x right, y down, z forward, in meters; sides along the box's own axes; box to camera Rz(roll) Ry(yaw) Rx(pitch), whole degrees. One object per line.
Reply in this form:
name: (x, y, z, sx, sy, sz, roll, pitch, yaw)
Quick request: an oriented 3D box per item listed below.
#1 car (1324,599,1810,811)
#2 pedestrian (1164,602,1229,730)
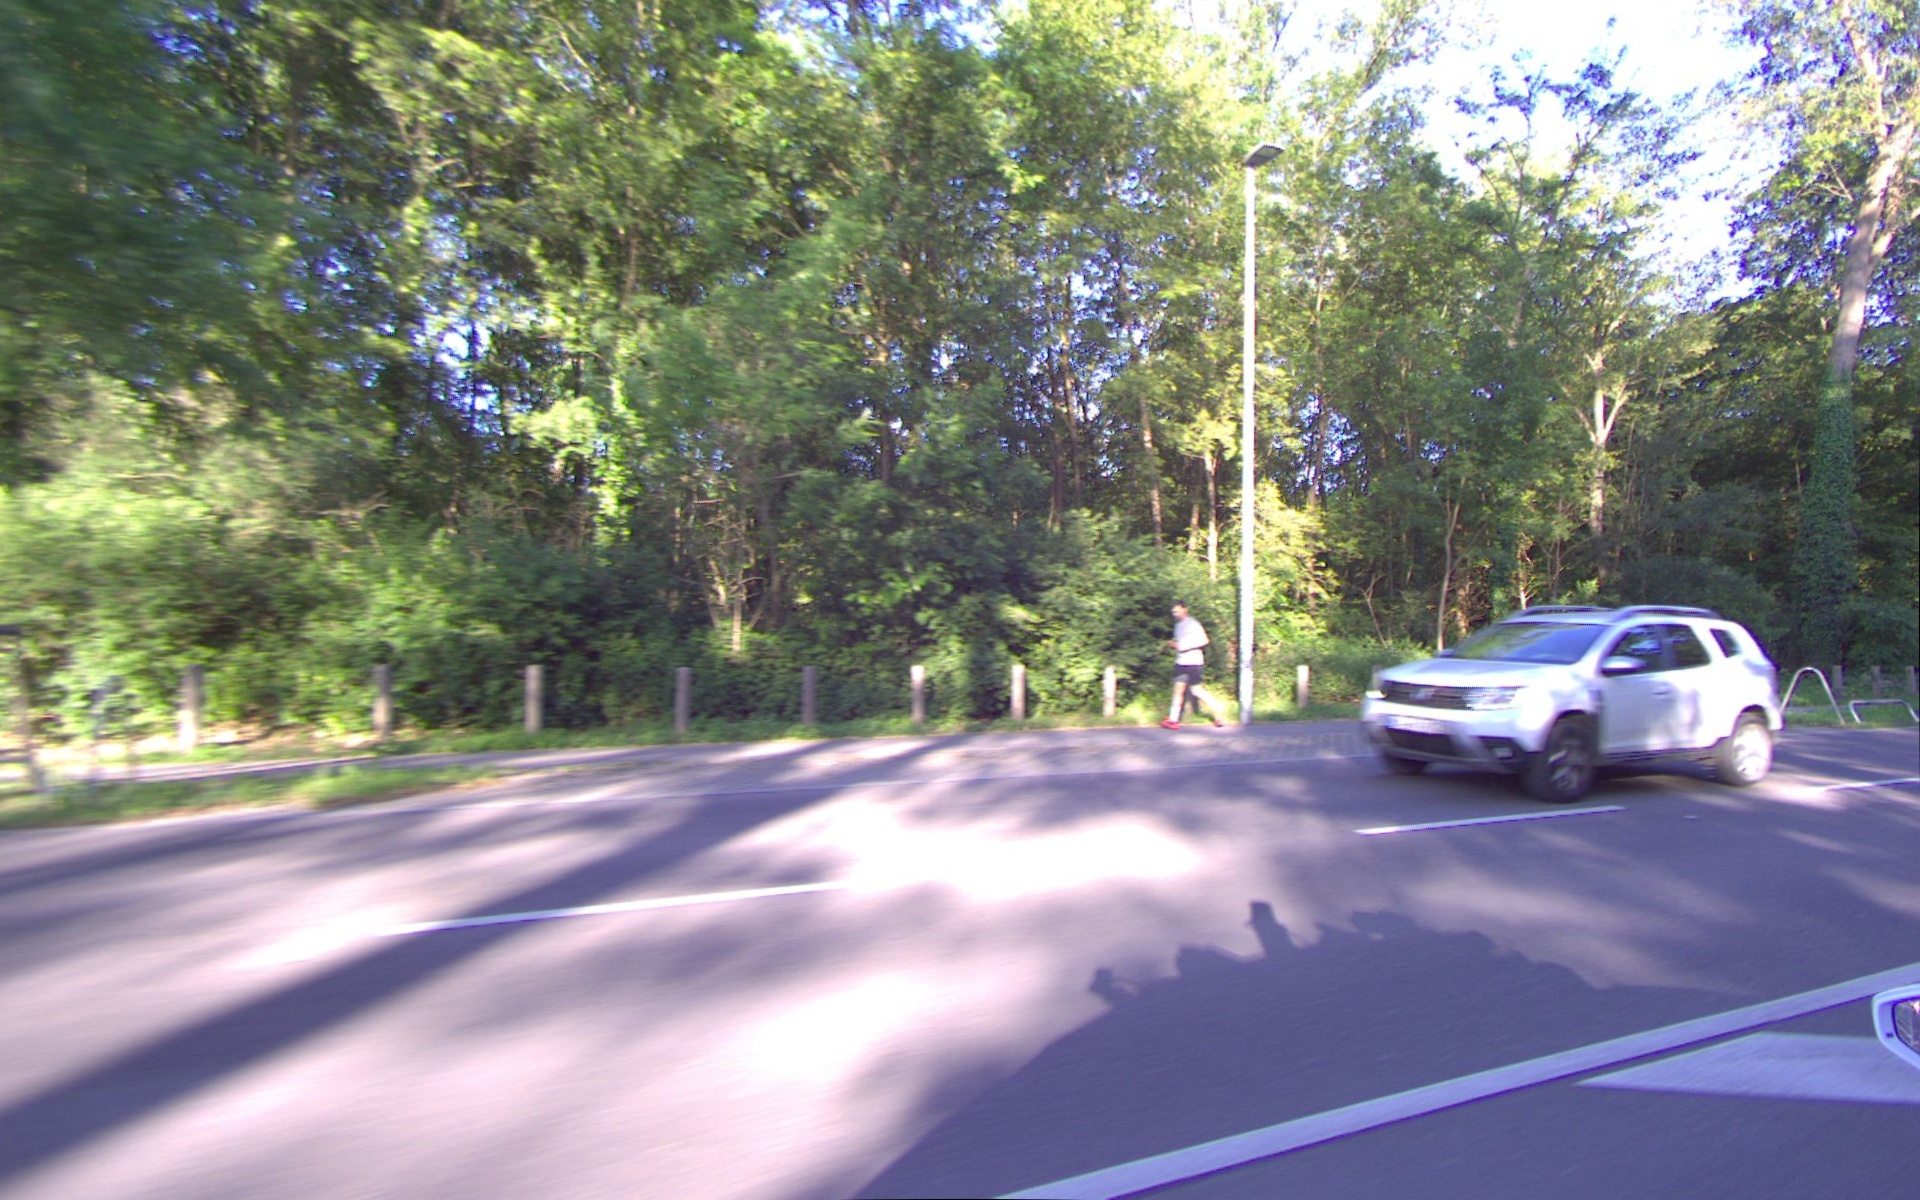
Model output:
car: (5.938, 0.897, 9.809, 4.389, 1.681, 1.988, 2, -1, -25)
pedestrian: (3.398, 0.949, 14.487, 0.724, 1.791, 0.773, 0, -3, -2)
